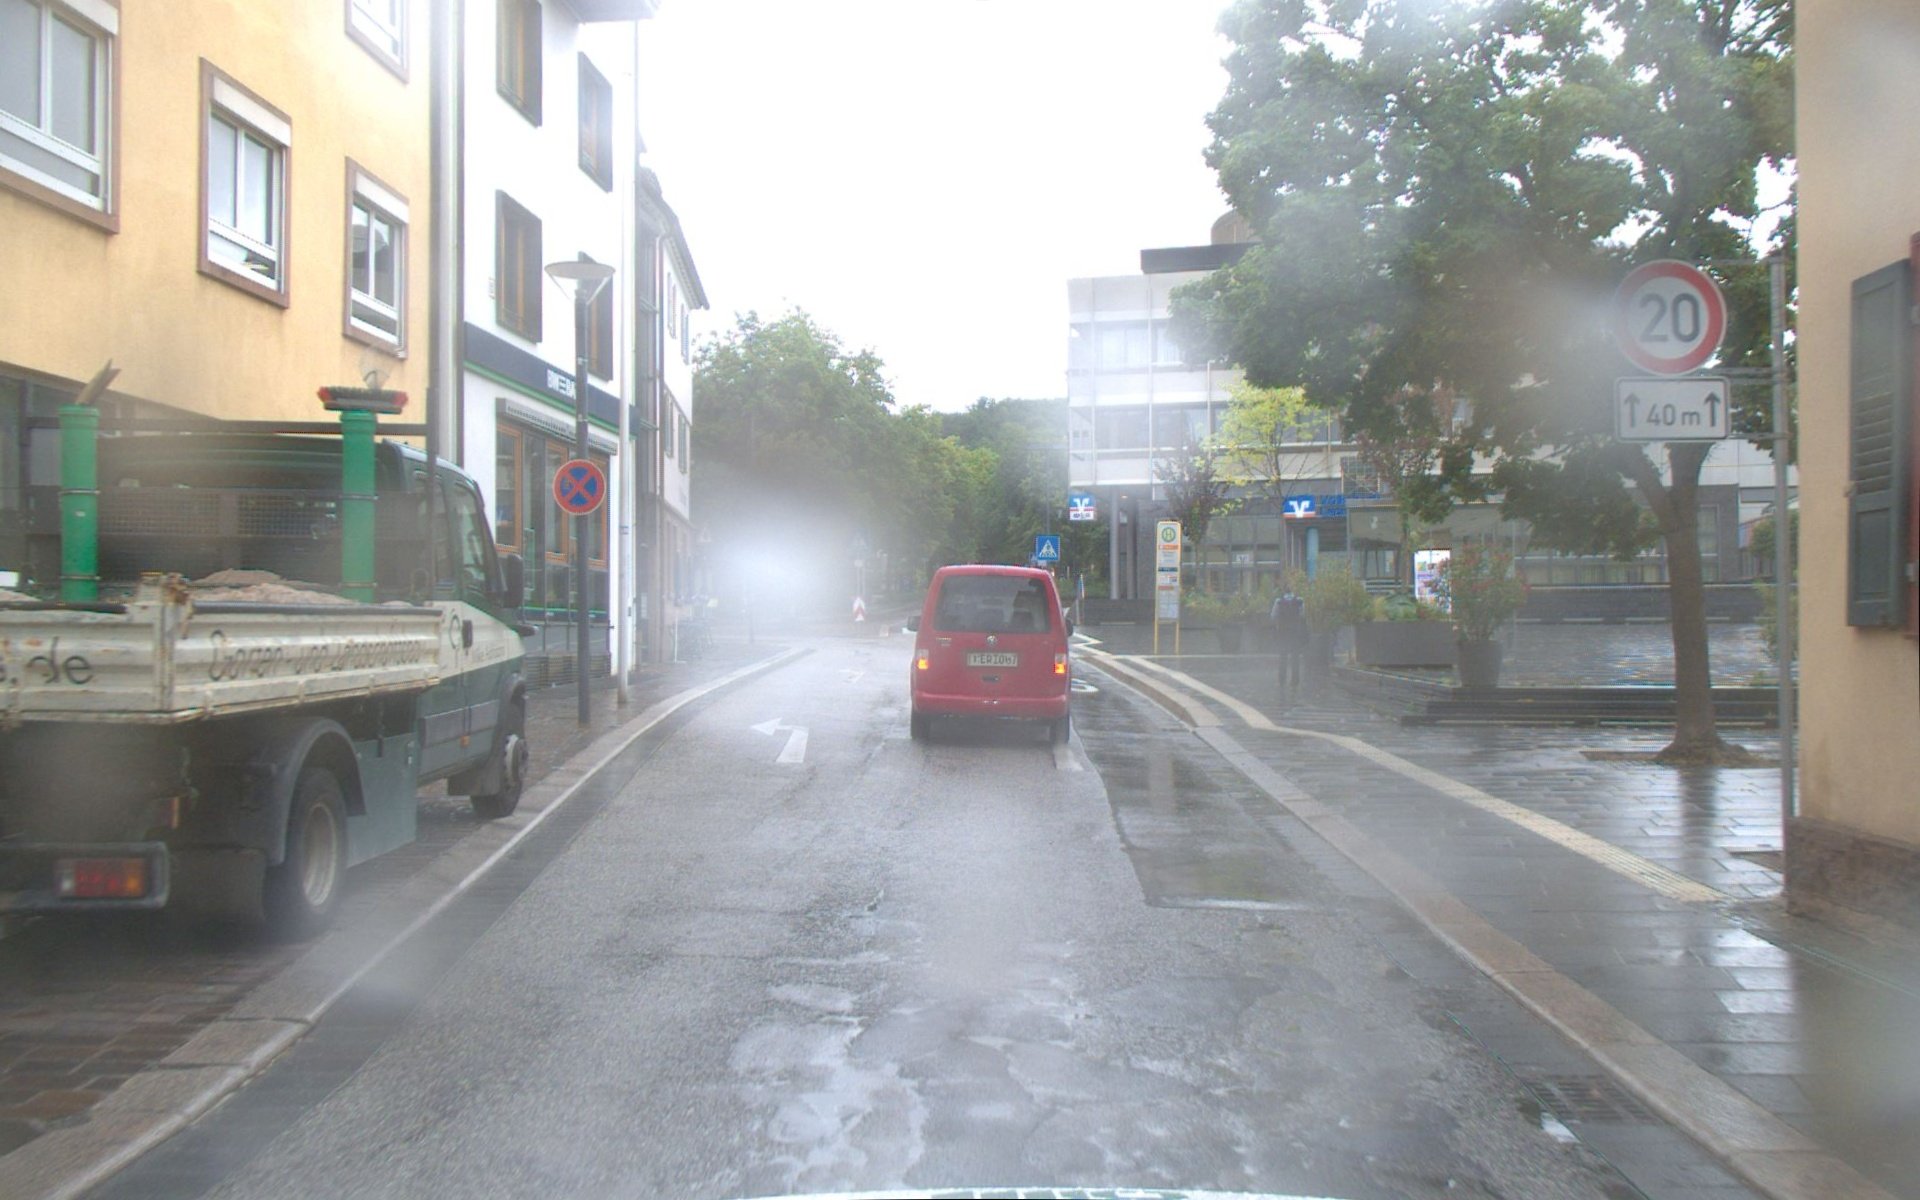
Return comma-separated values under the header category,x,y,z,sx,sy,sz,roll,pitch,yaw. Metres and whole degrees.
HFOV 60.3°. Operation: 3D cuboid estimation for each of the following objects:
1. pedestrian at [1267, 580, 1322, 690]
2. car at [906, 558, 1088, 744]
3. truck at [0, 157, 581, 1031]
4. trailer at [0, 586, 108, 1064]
category,x,y,z,sx,sy,sz,roll,pitch,yaw
pedestrian,5.129,0.529,25.391,0.712,1.645,0.694,-1,-1,4
car,0.314,0.524,18.828,1.824,1.862,4.183,0,0,-2
truck,-3.821,-0.055,8.644,2.424,2.843,6.596,-1,1,-3
trailer,-3.570,0.680,3.784,1.693,1.370,3.159,-1,1,-3
